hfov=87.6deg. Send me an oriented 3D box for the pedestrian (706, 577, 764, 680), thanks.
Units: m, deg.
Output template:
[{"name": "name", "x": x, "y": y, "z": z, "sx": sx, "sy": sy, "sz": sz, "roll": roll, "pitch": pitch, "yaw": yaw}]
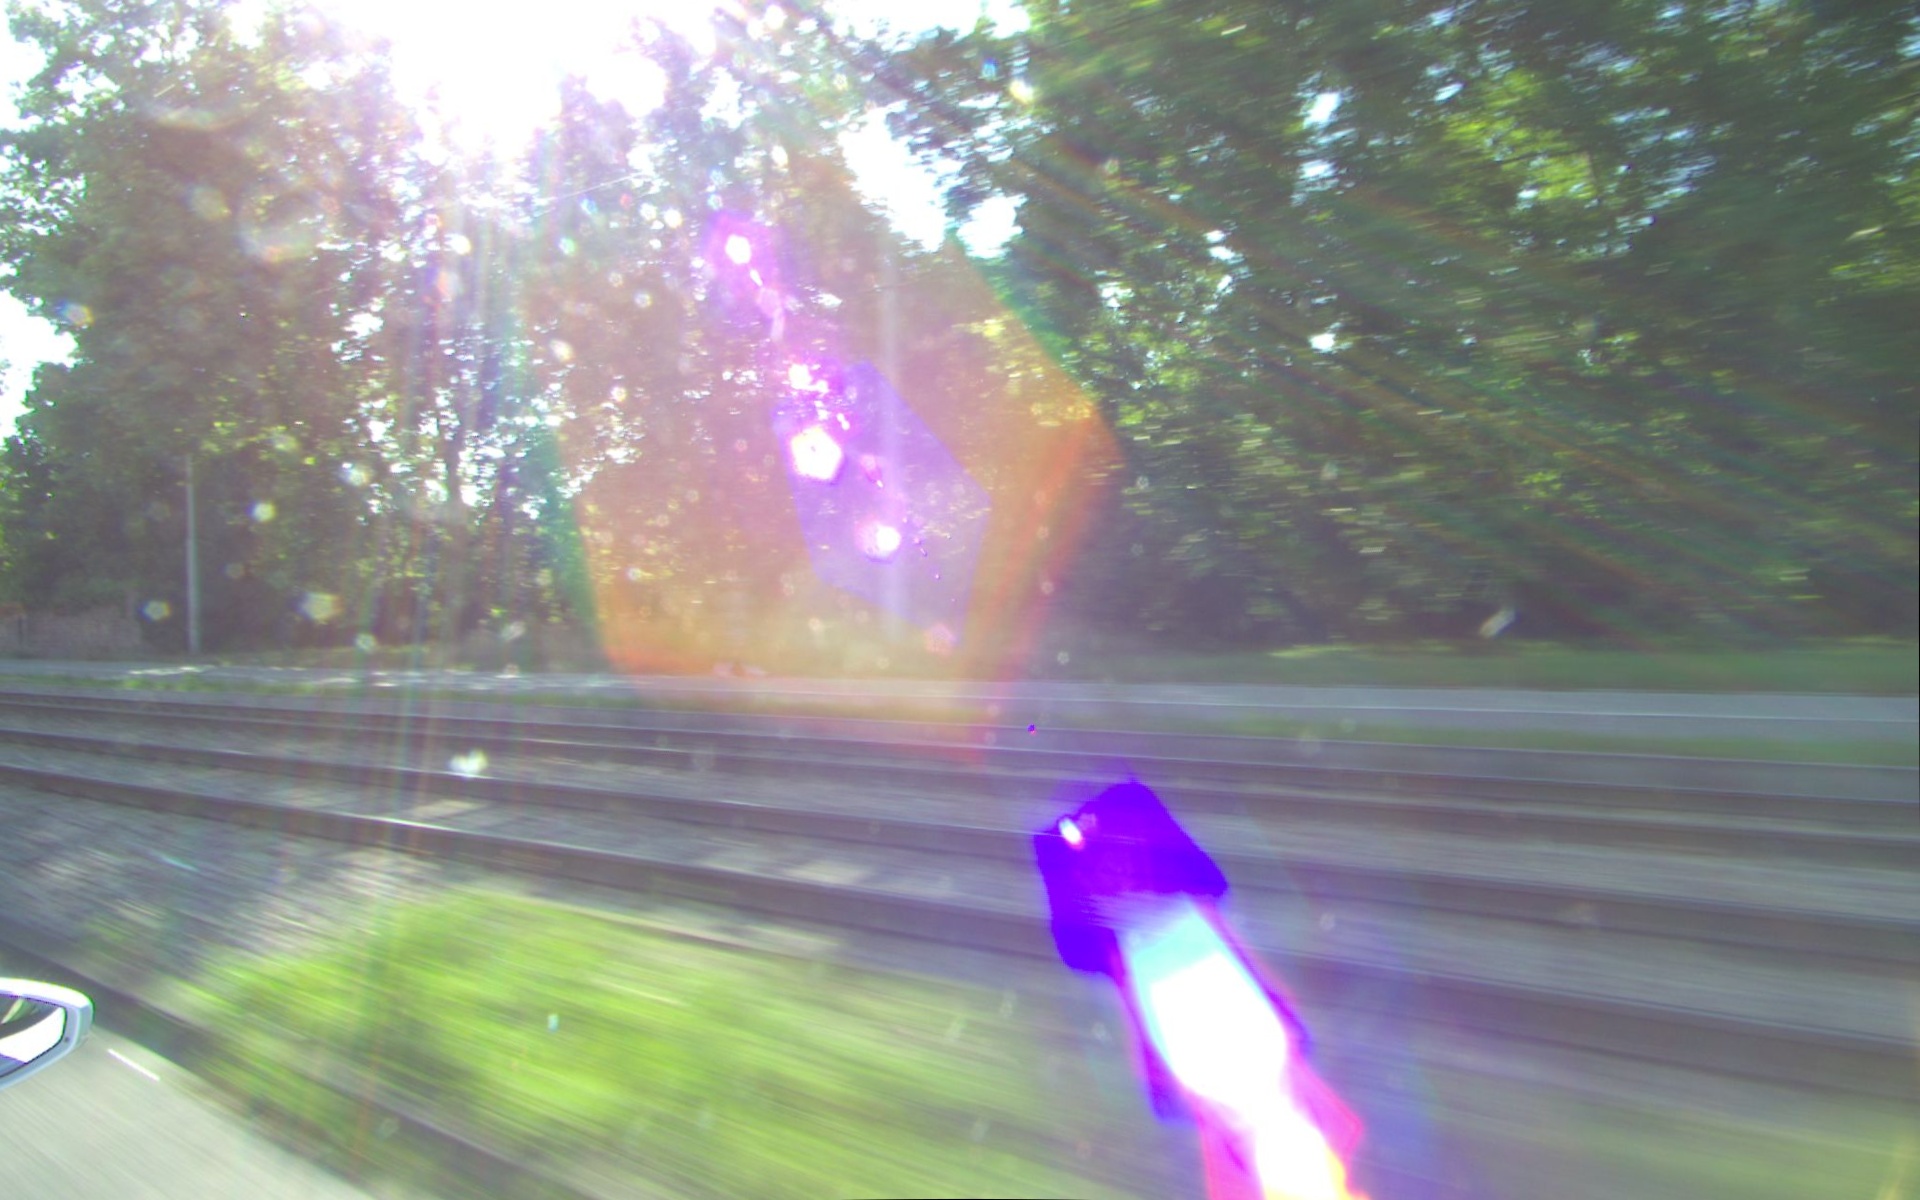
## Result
[{"name": "pedestrian", "x": -3.903, "y": 0.477, "z": 17.359, "sx": 0.874, "sy": 1.739, "sz": 0.498, "roll": 0, "pitch": 1, "yaw": 37}]
